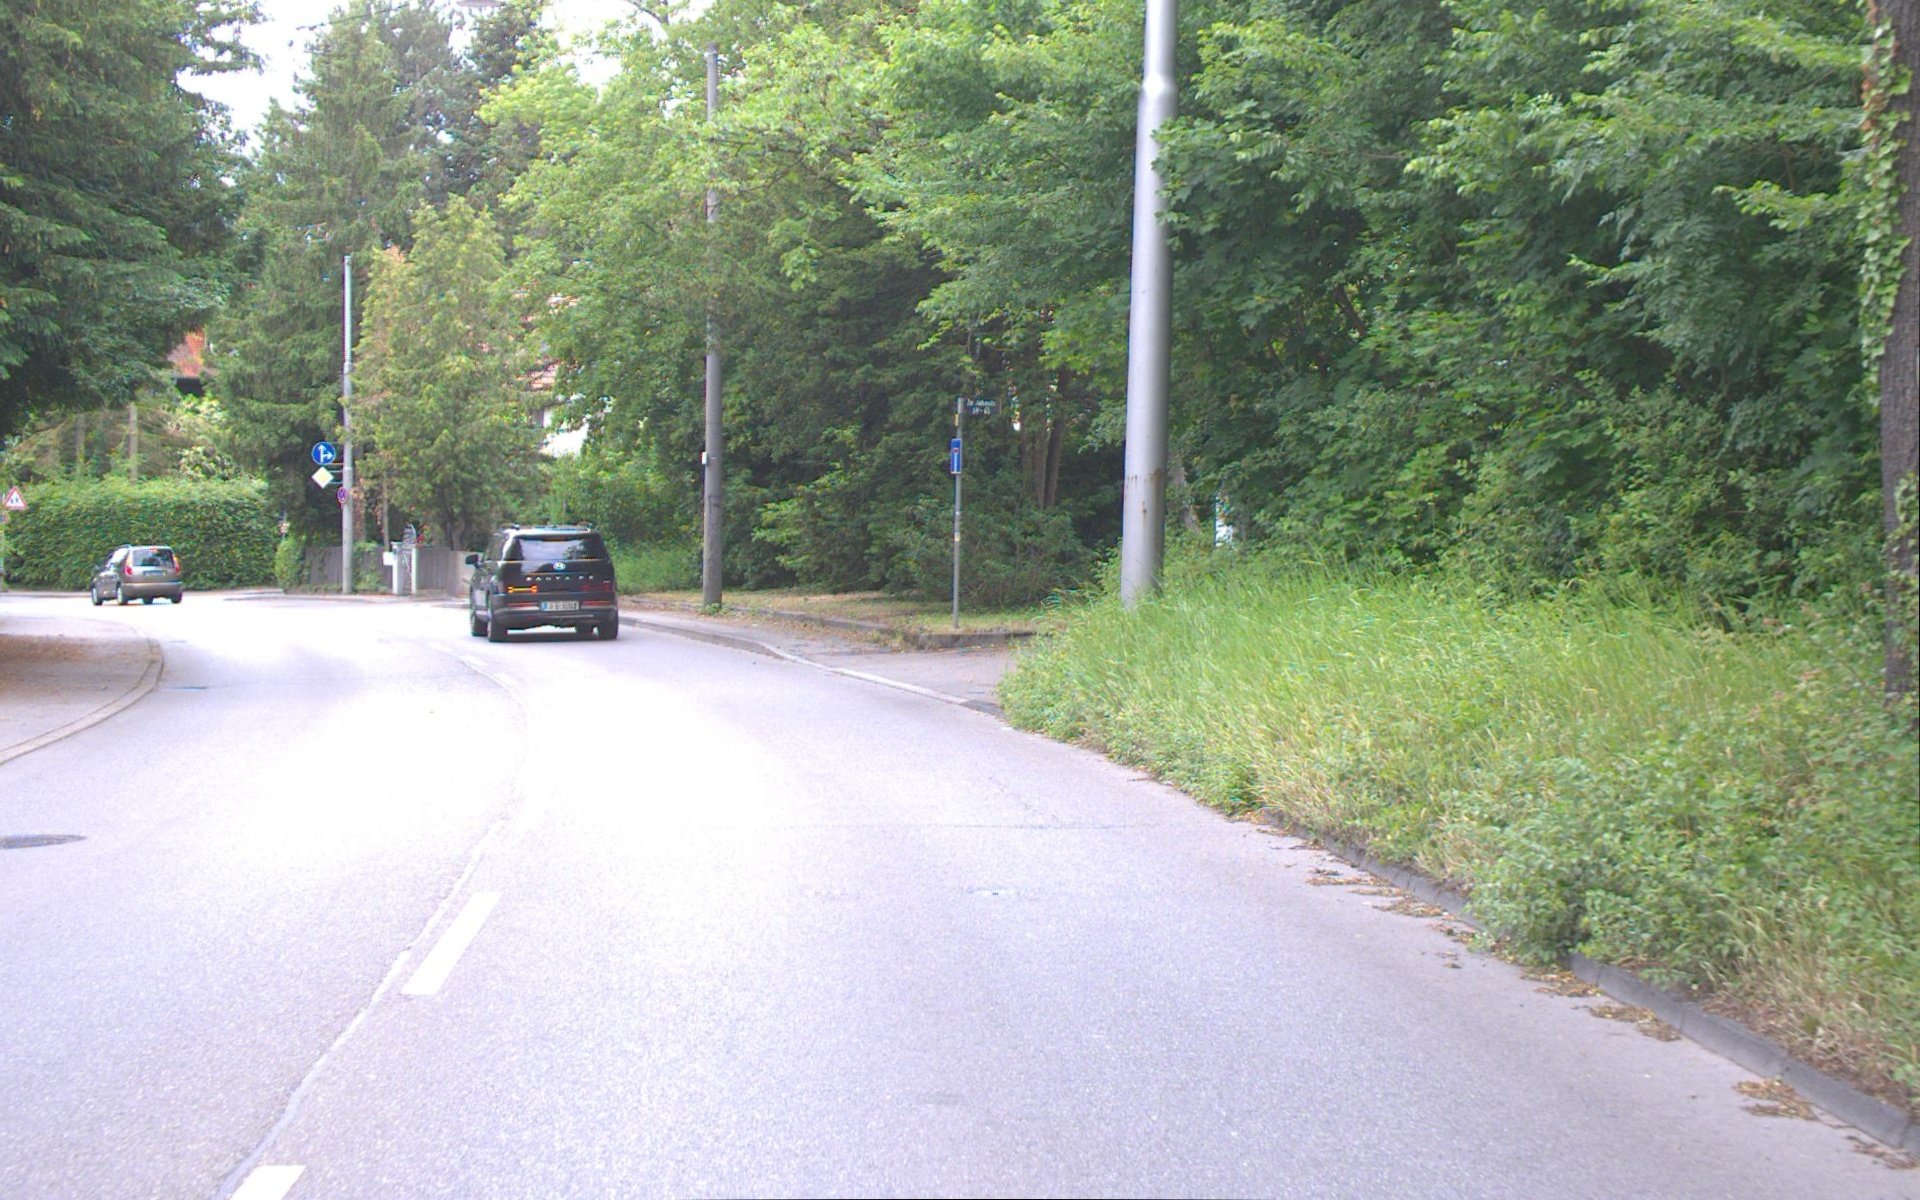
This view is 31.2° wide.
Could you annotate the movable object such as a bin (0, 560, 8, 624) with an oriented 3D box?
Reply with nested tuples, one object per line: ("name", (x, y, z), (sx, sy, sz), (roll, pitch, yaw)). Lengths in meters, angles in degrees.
("movable object such as a bin", (-17.439, -0.148, 61.467), (0.740, 1.137, 0.647), (2, 0, -17))

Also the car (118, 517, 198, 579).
("car", (-22.128, -1.443, 94.823), (1.993, 1.612, 4.002), (0, 2, -15))

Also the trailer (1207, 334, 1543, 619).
("trailer", (4.318, -1.281, 35.948), (3.115, 2.889, 1.593), (-1, 1, -12))

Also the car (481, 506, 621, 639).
("car", (-6.195, -0.449, 51.845), (1.993, 1.875, 4.001), (1, 2, -8))
